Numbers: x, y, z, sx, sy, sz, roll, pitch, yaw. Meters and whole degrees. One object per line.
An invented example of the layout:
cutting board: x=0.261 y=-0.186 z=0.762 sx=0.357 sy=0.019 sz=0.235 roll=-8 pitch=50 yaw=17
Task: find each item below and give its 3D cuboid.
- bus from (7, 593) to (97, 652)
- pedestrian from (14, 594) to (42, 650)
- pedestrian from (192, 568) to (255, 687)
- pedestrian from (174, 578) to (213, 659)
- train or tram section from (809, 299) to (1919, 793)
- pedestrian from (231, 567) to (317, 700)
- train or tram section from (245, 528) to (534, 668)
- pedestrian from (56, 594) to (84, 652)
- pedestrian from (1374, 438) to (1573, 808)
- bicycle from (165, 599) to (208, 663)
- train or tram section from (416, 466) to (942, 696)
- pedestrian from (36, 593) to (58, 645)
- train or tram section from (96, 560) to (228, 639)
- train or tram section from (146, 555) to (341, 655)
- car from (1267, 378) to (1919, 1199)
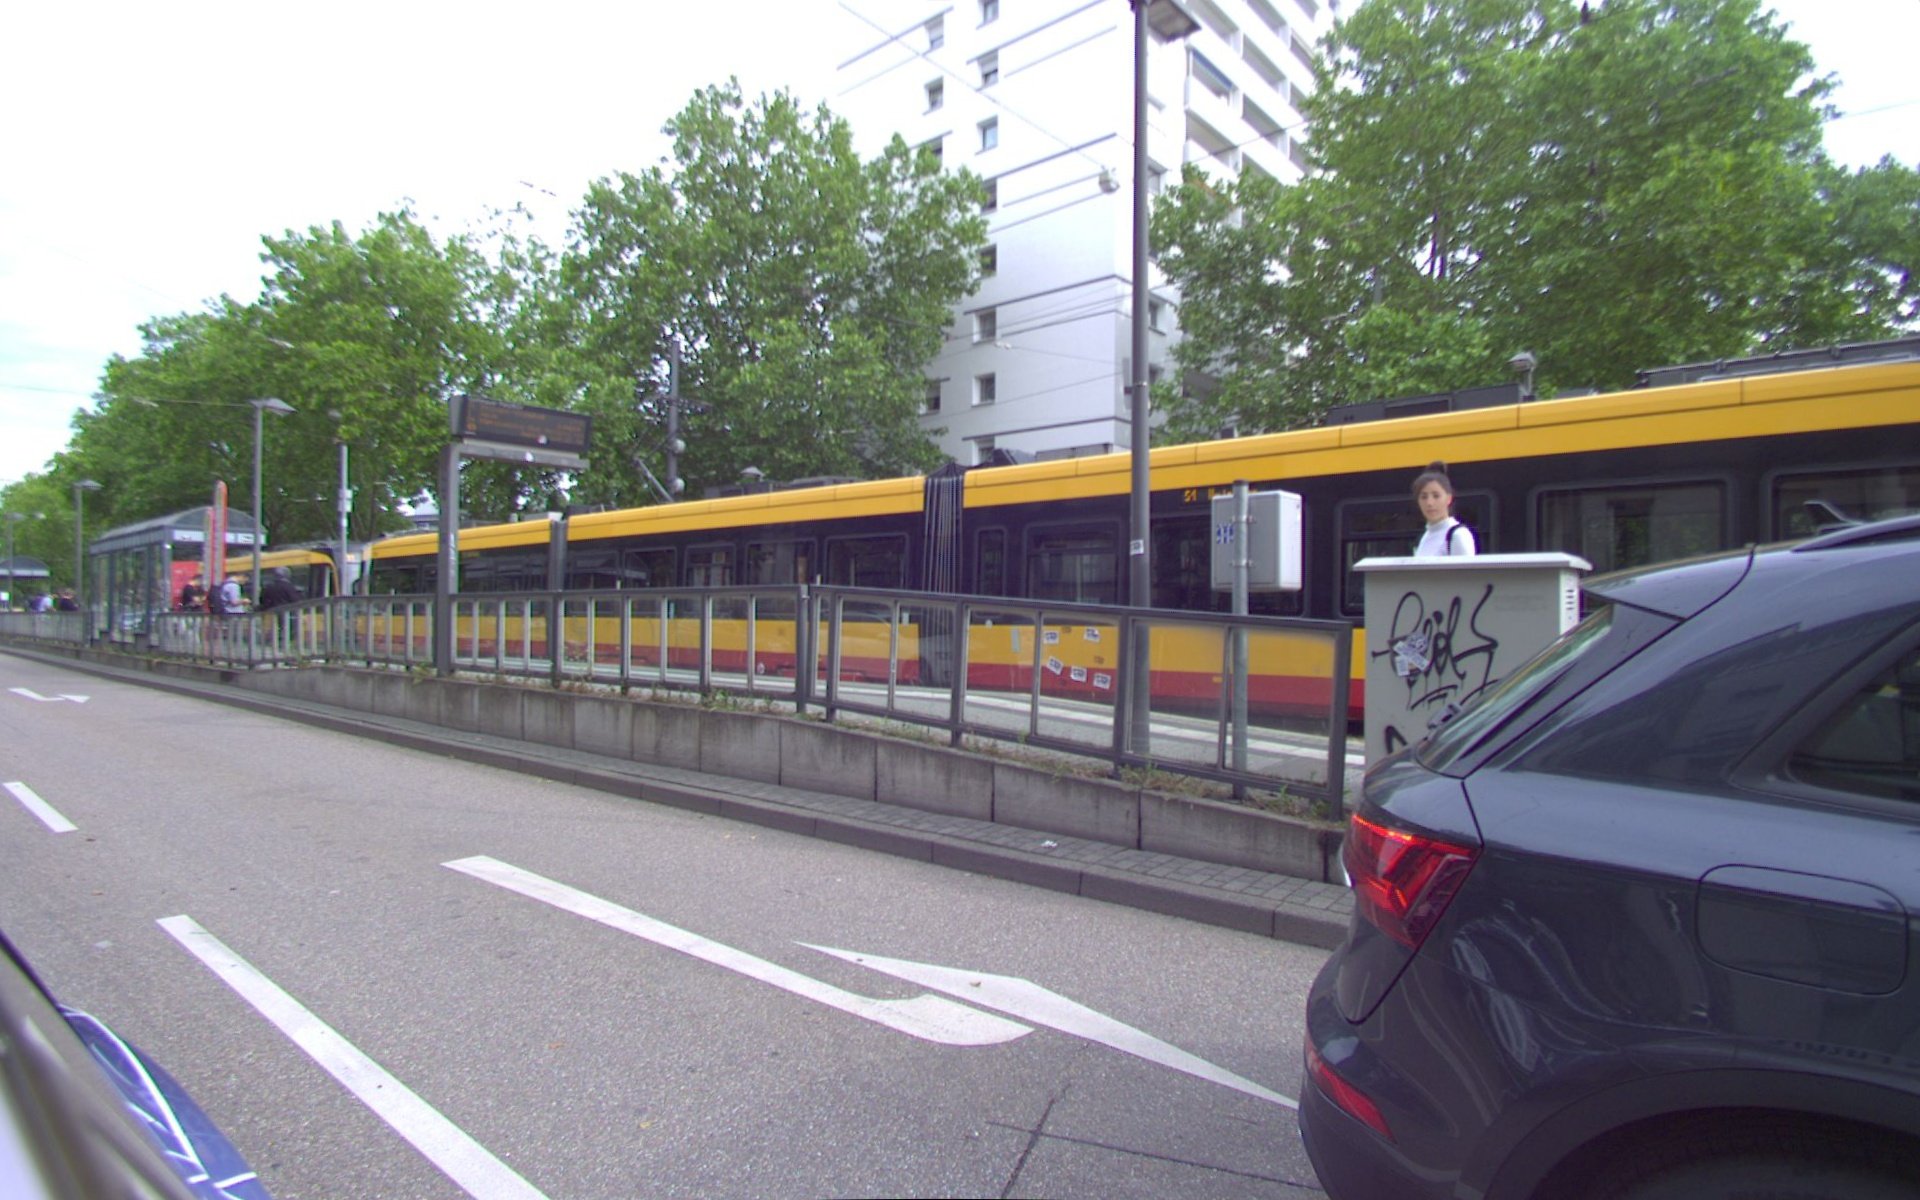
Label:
bus: x=-33.094 y=0.771 z=36.854 sx=3.998 sy=2.029 sz=1.973 roll=0 pitch=0 yaw=41
pedestrian: x=-34.300 y=0.799 z=37.257 sx=0.587 sy=2.029 sz=0.668 roll=-1 pitch=0 yaw=38
pedestrian: x=-12.928 y=0.462 z=17.789 sx=0.742 sy=2.029 sz=0.821 roll=-1 pitch=0 yaw=-26
pedestrian: x=-15.992 y=0.380 z=21.115 sx=0.471 sy=1.645 sz=0.526 roll=-1 pitch=0 yaw=39
train or tram section: x=4.624 y=-0.385 z=11.544 sx=15.841 sy=3.615 sz=3.028 roll=0 pitch=0 yaw=41
pedestrian: x=-10.735 y=0.516 z=15.857 sx=0.808 sy=2.029 sz=0.754 roll=-1 pitch=0 yaw=4
train or tram section: x=-18.558 y=-0.020 z=31.922 sx=15.287 sy=3.558 sz=3.028 roll=0 pitch=0 yaw=41
pedestrian: x=-25.432 y=0.647 z=28.924 sx=0.730 sy=1.645 sz=0.506 roll=-1 pitch=0 yaw=42
pedestrian: x=2.594 y=0.101 z=5.108 sx=0.730 sy=1.674 sz=0.746 roll=-1 pitch=0 yaw=41
bicycle: x=-15.329 y=0.604 z=20.054 sx=1.289 sy=1.231 sz=0.414 roll=-1 pitch=0 yaw=41
train or tram section: x=-7.068 y=-0.269 z=21.812 sx=15.287 sy=3.558 sz=3.028 roll=0 pitch=0 yaw=41
pedestrian: x=-29.018 y=0.592 z=32.177 sx=0.392 sy=1.645 sz=0.474 roll=-1 pitch=0 yaw=42
train or tram section: x=-40.829 y=-0.015 z=51.531 sx=12.534 sy=3.588 sz=3.060 roll=0 pitch=0 yaw=41
train or tram section: x=-30.220 y=0.201 z=42.157 sx=15.764 sy=3.558 sz=3.028 roll=0 pitch=0 yaw=41
car: x=2.769 y=0.538 z=1.001 sx=4.354 sy=1.613 sz=1.861 roll=-1 pitch=0 yaw=40
